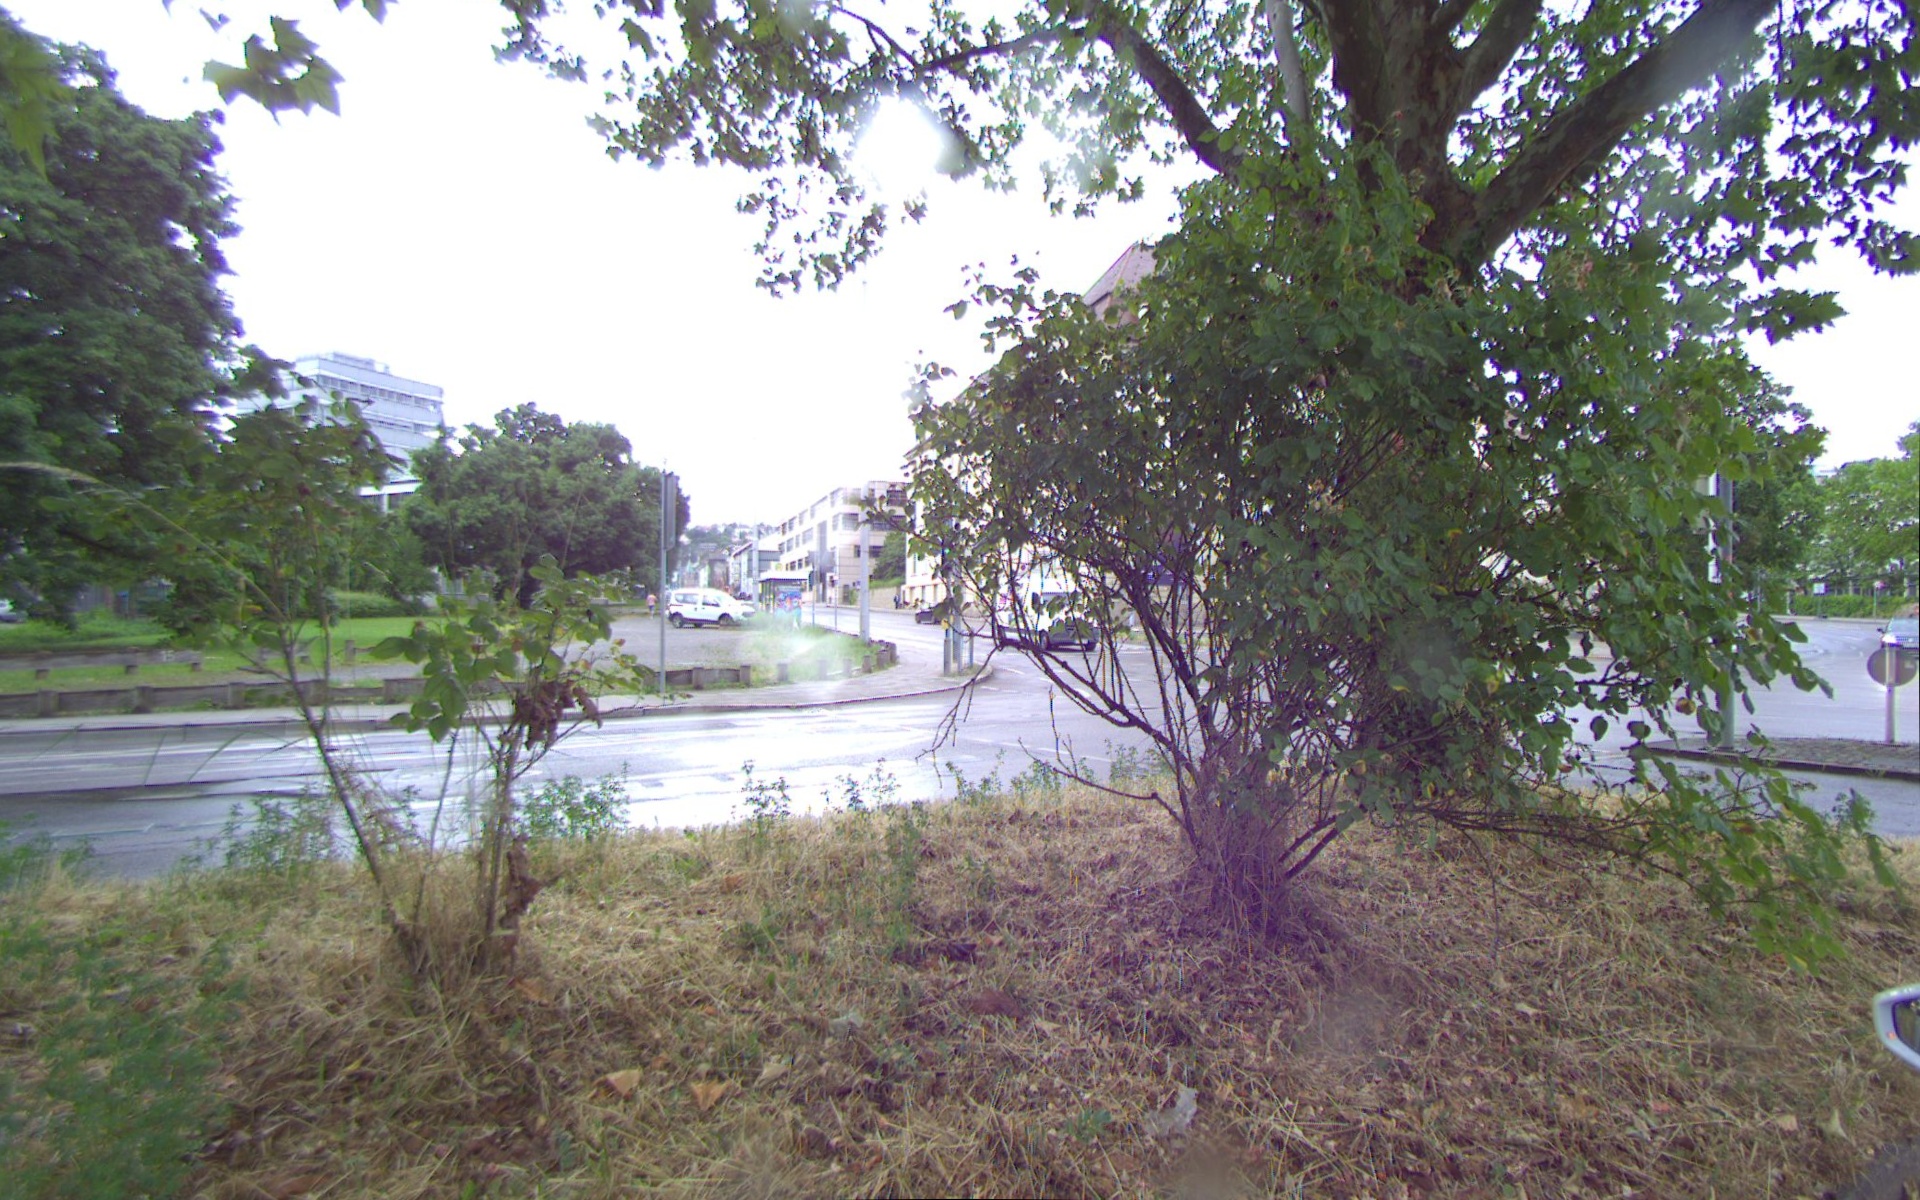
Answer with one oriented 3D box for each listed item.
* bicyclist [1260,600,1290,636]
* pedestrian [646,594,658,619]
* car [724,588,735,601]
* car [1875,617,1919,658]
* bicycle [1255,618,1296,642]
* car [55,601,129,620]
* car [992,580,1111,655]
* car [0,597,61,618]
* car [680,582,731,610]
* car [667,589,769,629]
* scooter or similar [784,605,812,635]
[{"bbox_3d":[15.134,0.849,48.213,0.697,1.654,1.114,2,0,-43],"label":"bicyclist"},{"bbox_3d":[-19.581,0.415,63.784,0.557,1.548,0.669,2,0,-8],"label":"pedestrian"},{"bbox_3d":[-50.652,-1.164,220.616,1.969,2.652,3.983,2,0,-19],"label":"car"},{"bbox_3d":[39.218,1.520,41.657,1.847,1.585,4.252,-1,-1,43],"label":"car"},{"bbox_3d":[15.137,1.441,48.186,0.643,1.070,1.798,2,-1,-42],"label":"bicycle"},{"bbox_3d":[-60.331,0.710,69.851,3.500,1.158,1.586,2,0,-18],"label":"car"},{"bbox_3d":[3.222,0.569,37.113,2.034,2.527,6.010,0,0,-20],"label":"car"},{"bbox_3d":[-58.521,0.465,62.489,3.500,1.158,1.586,2,0,-18],"label":"car"},{"bbox_3d":[-17.237,-0.236,68.005,1.838,1.765,4.029,1,-1,-39],"label":"car"},{"bbox_3d":[-11.278,0.392,46.793,4.420,1.791,1.833,0,-1,24],"label":"car"},{"bbox_3d":[-6.575,0.799,40.851,0.541,1.182,1.253,2,0,20],"label":"scooter or similar"}]
